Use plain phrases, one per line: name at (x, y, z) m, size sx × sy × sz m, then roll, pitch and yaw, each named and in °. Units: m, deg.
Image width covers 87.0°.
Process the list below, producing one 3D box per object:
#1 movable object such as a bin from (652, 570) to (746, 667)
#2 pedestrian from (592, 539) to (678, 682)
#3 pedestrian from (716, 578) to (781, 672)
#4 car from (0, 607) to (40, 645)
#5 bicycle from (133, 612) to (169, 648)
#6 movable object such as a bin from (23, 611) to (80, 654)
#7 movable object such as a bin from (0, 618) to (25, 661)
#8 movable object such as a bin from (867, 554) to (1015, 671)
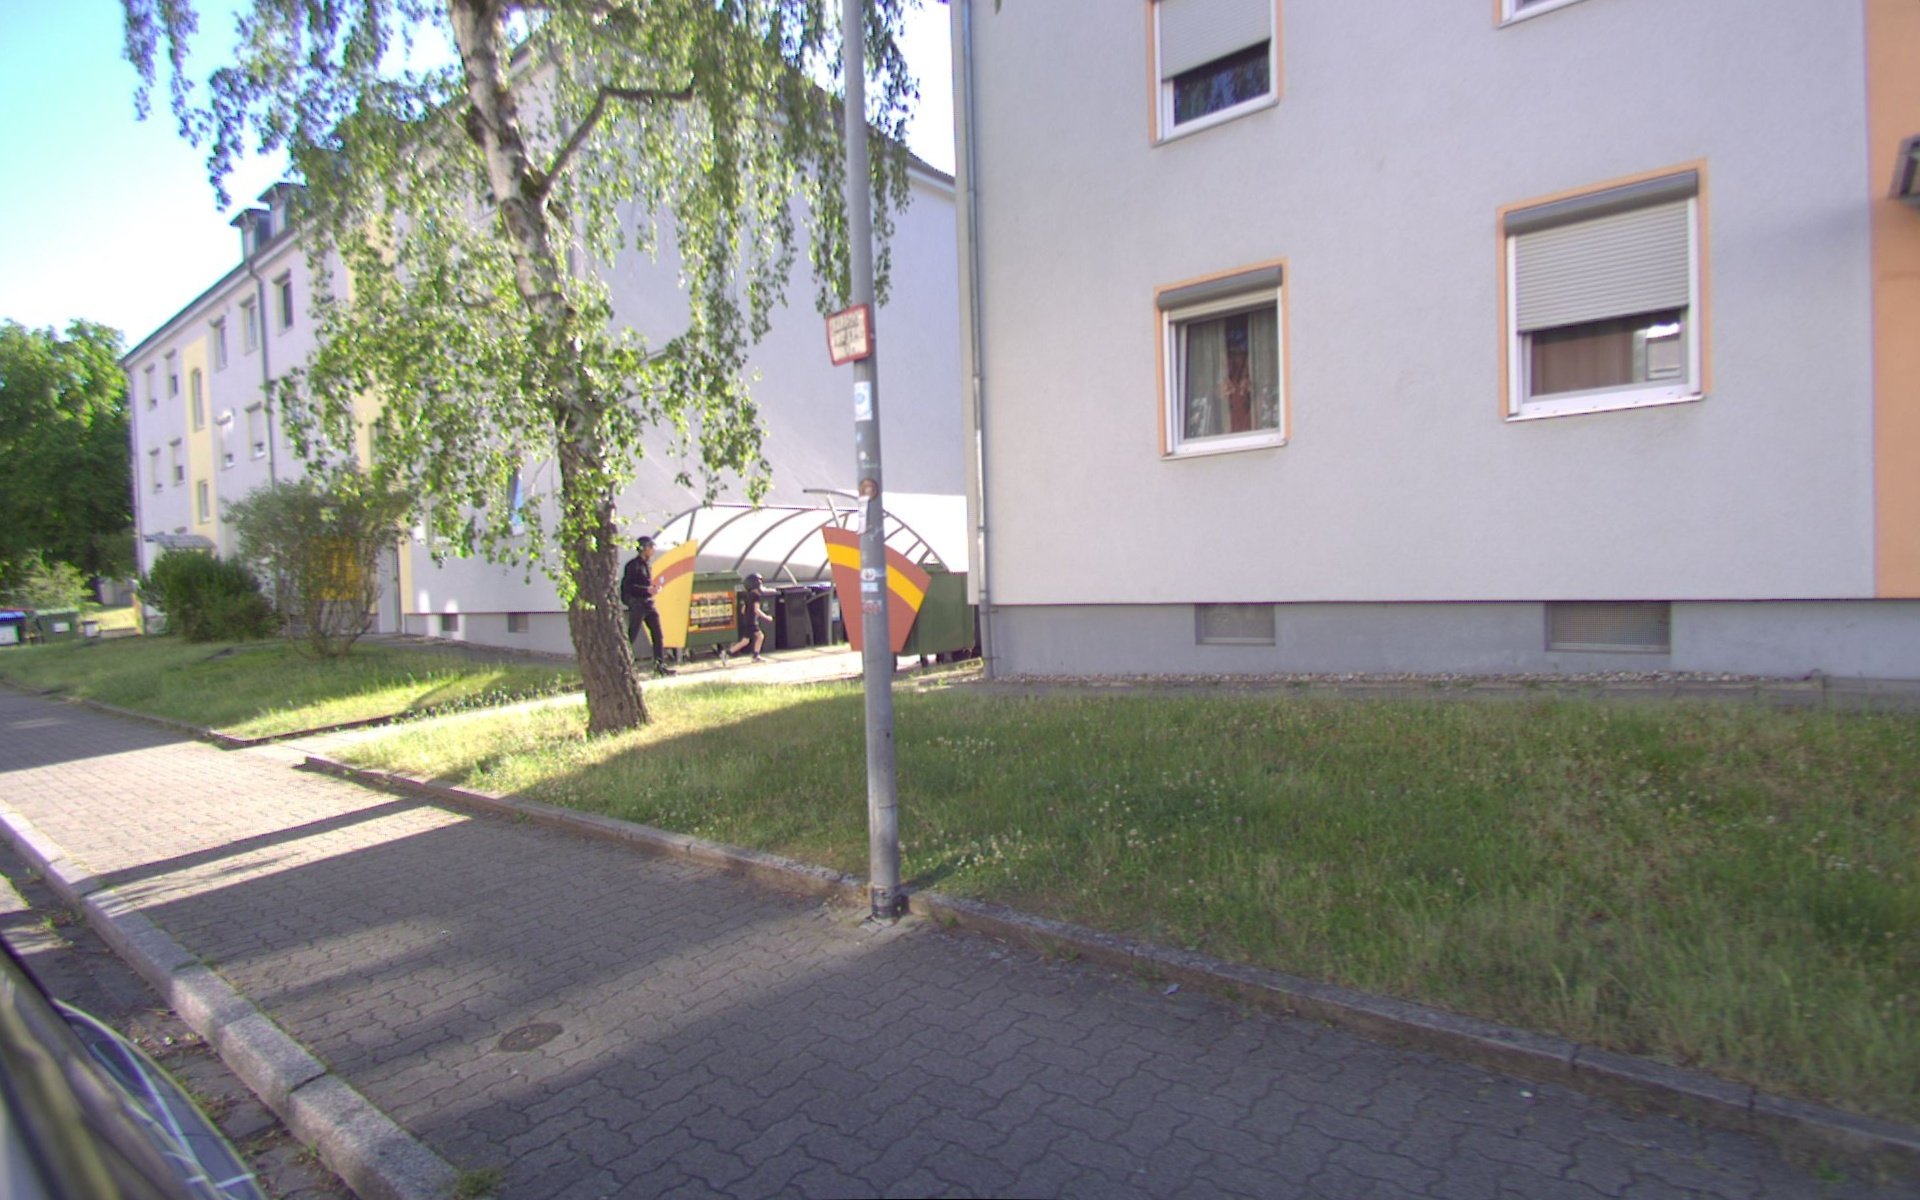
movable object such as a bin at (-4.046, 0.274, 15.723) m, size 0.812 × 1.416 × 1.073 m, roll -2°, pitch 1°, yaw 41°
pedestrian at (-4.355, 0.131, 13.564) m, size 0.718 × 1.837 × 0.797 m, roll -2°, pitch 1°, yaw 41°
pedestrian at (-3.064, 0.351, 14.701) m, size 0.575 × 1.327 × 0.679 m, roll -2°, pitch 1°, yaw 41°
car at (-54.844, 1.544, 56.516) m, size 2.000 × 2.029 × 4.927 m, roll -2°, pitch 1°, yaw 43°
bicycle at (-30.309, 1.123, 37.919) m, size 2.008 × 1.260 × 0.633 m, roll -2°, pitch 2°, yaw 41°
movable object such as a bin at (-34.495, 1.217, 38.424) m, size 1.072 × 1.463 × 1.347 m, roll -2°, pitch 5°, yaw 40°
movable object such as a bin at (-35.469, 1.495, 37.212) m, size 1.082 × 1.470 × 1.342 m, roll -2°, pitch 5°, yaw 40°
movable object such as a bin at (-0.230, 0.144, 12.926) m, size 1.227 × 1.345 × 1.374 m, roll -2°, pitch 3°, yaw 40°
